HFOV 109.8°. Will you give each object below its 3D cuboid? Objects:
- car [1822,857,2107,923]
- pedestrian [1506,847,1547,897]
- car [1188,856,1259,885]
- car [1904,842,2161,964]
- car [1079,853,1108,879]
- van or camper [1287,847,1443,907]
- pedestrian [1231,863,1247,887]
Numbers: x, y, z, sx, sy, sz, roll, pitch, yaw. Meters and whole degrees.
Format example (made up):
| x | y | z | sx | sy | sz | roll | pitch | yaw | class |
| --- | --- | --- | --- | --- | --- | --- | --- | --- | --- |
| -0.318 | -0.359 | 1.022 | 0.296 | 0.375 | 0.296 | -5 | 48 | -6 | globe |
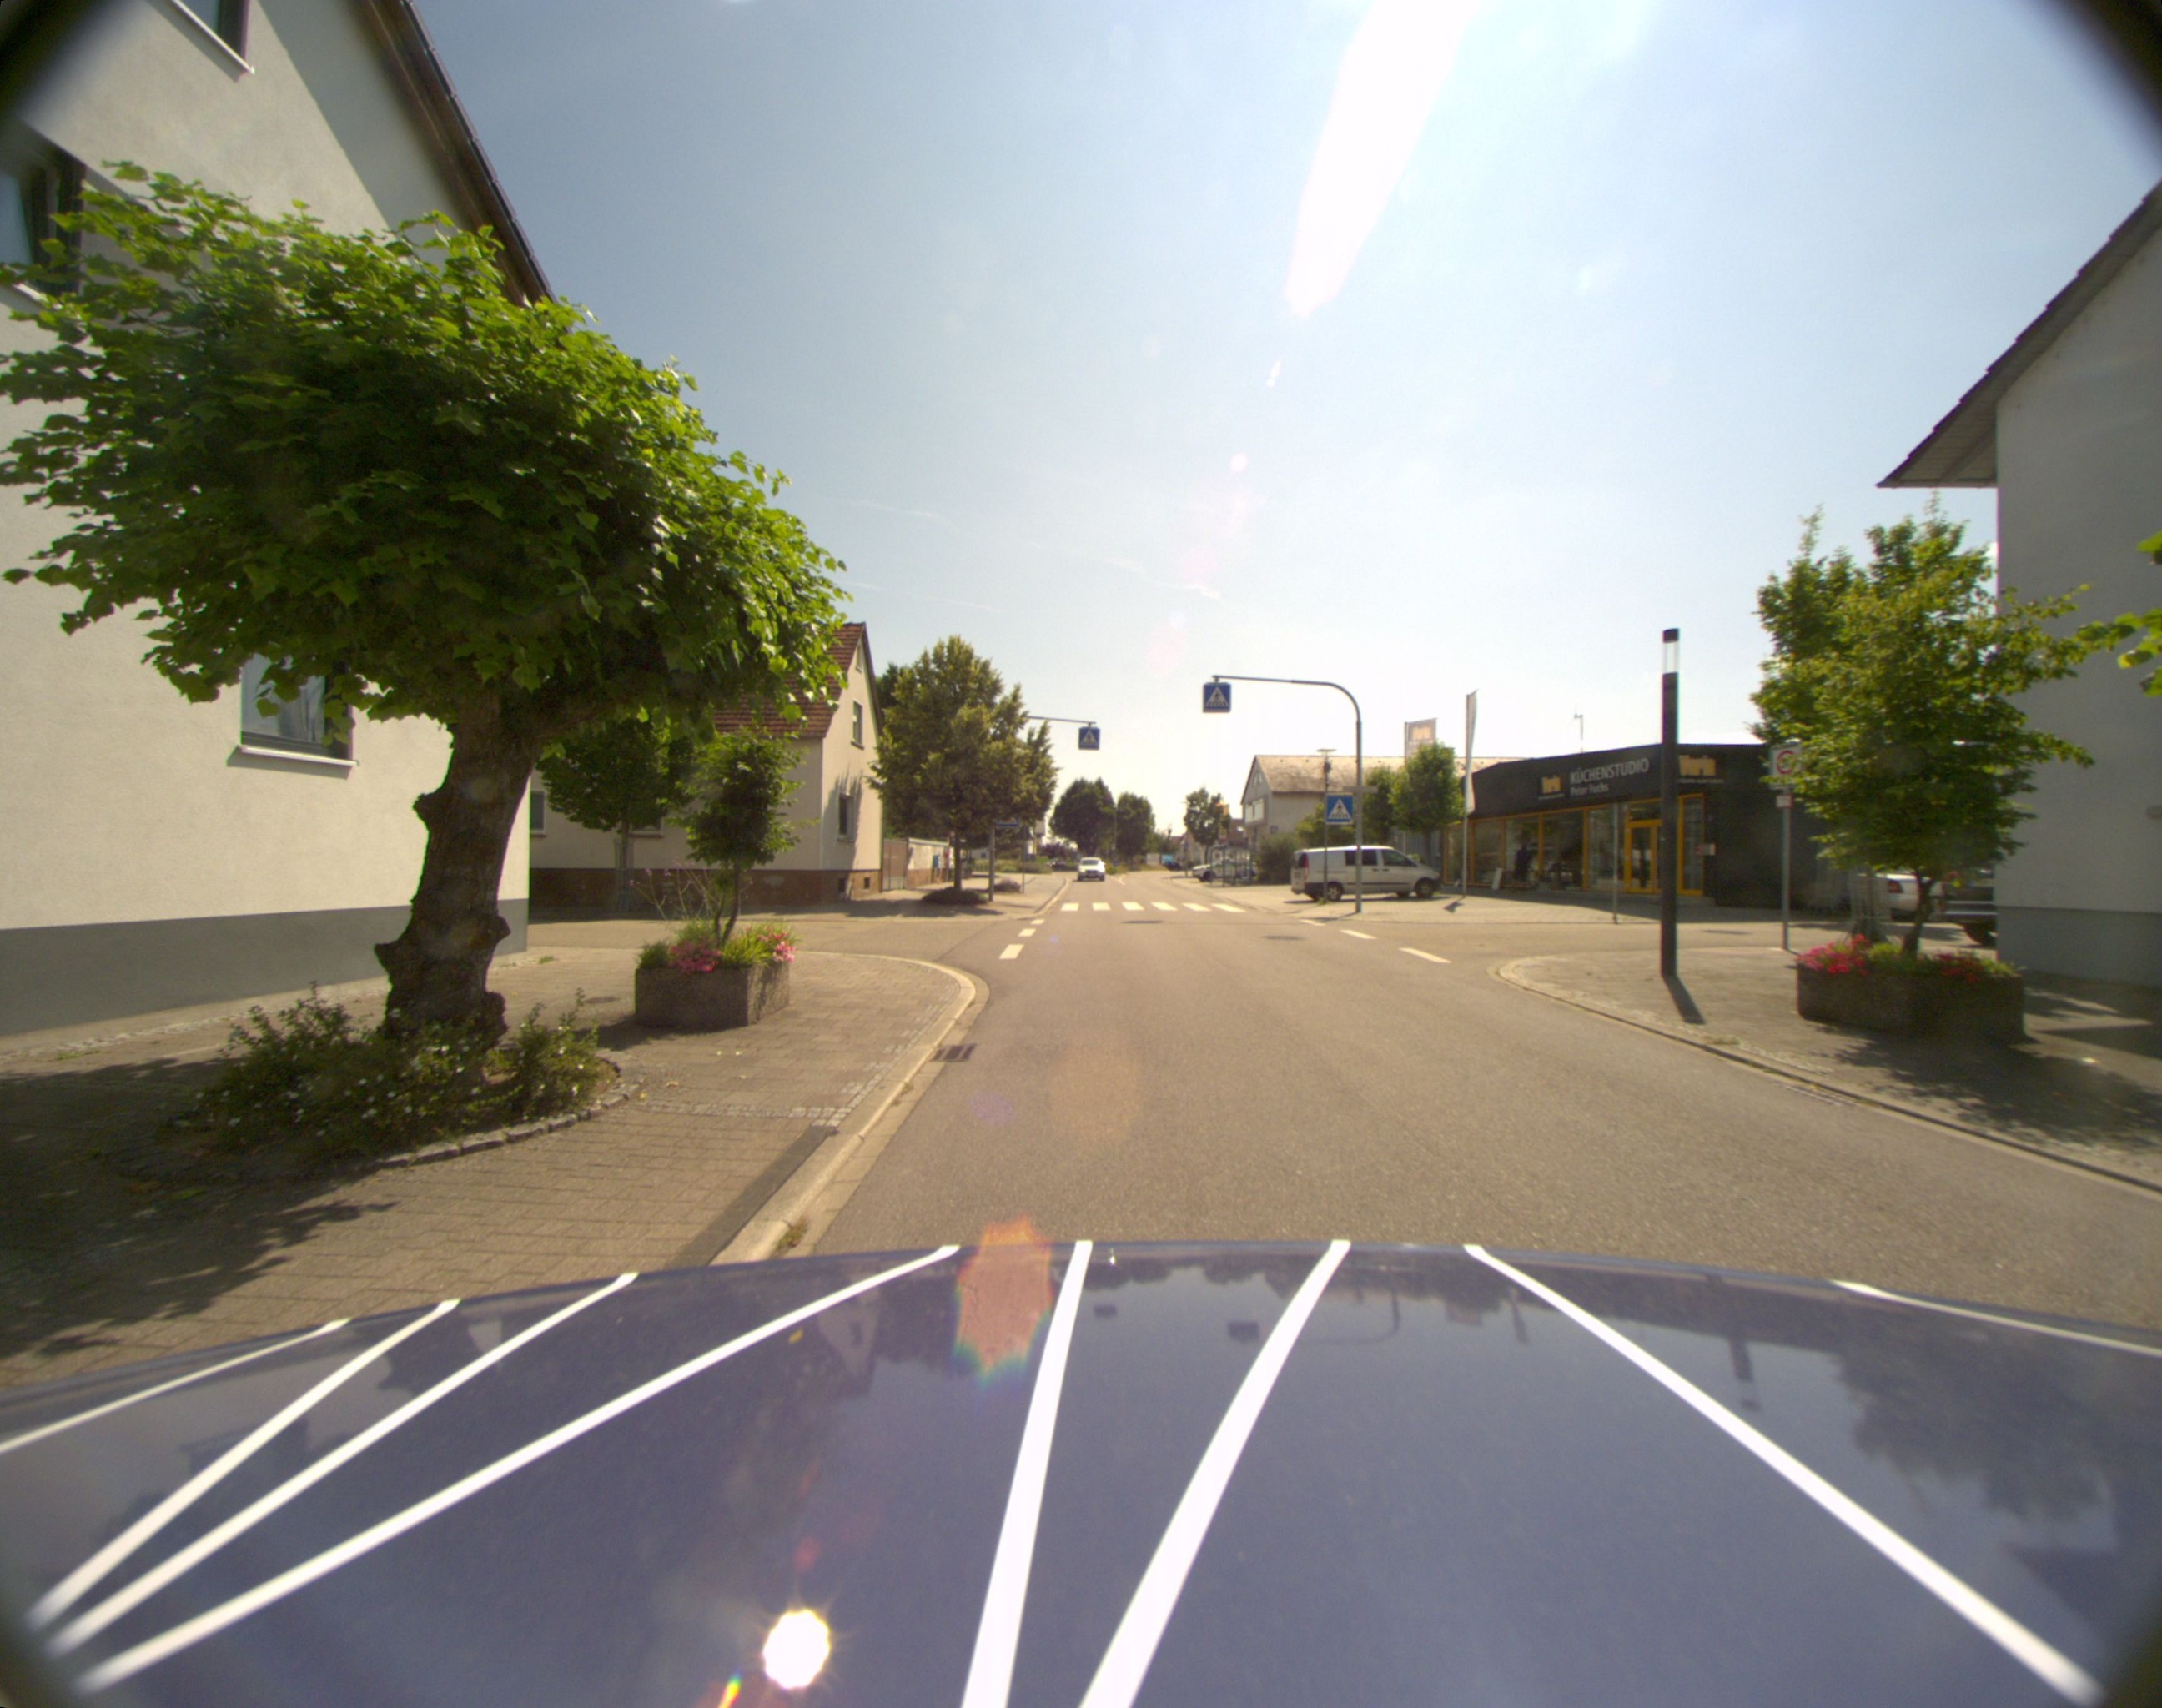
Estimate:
| x | y | z | sx | sy | sz | roll | pitch | yaw | class |
| --- | --- | --- | --- | --- | --- | --- | --- | --- | --- |
| 20.449 | 0.813 | 17.742 | 4.435 | 1.454 | 1.867 | 0 | 0 | 1 | car |
| 16.167 | 0.632 | 27.591 | 1.072 | 1.765 | 0.932 | -1 | 1 | -36 | pedestrian |
| 9.577 | 1.078 | 51.273 | 4.251 | 1.709 | 1.945 | -3 | 1 | -5 | car |
| 16.082 | 0.688 | 11.760 | 4.435 | 1.705 | 2.001 | -1 | -1 | 1 | car |
| 0.882 | 0.781 | 52.031 | 1.857 | 1.603 | 4.135 | -2 | 0 | 2 | car |
| 9.985 | 0.796 | 26.972 | 4.752 | 1.851 | 2.000 | -2 | 0 | 0 | van or camper |
| 9.005 | 1.191 | 43.407 | 0.787 | 1.350 | 0.607 | -1 | 1 | 1 | pedestrian |
